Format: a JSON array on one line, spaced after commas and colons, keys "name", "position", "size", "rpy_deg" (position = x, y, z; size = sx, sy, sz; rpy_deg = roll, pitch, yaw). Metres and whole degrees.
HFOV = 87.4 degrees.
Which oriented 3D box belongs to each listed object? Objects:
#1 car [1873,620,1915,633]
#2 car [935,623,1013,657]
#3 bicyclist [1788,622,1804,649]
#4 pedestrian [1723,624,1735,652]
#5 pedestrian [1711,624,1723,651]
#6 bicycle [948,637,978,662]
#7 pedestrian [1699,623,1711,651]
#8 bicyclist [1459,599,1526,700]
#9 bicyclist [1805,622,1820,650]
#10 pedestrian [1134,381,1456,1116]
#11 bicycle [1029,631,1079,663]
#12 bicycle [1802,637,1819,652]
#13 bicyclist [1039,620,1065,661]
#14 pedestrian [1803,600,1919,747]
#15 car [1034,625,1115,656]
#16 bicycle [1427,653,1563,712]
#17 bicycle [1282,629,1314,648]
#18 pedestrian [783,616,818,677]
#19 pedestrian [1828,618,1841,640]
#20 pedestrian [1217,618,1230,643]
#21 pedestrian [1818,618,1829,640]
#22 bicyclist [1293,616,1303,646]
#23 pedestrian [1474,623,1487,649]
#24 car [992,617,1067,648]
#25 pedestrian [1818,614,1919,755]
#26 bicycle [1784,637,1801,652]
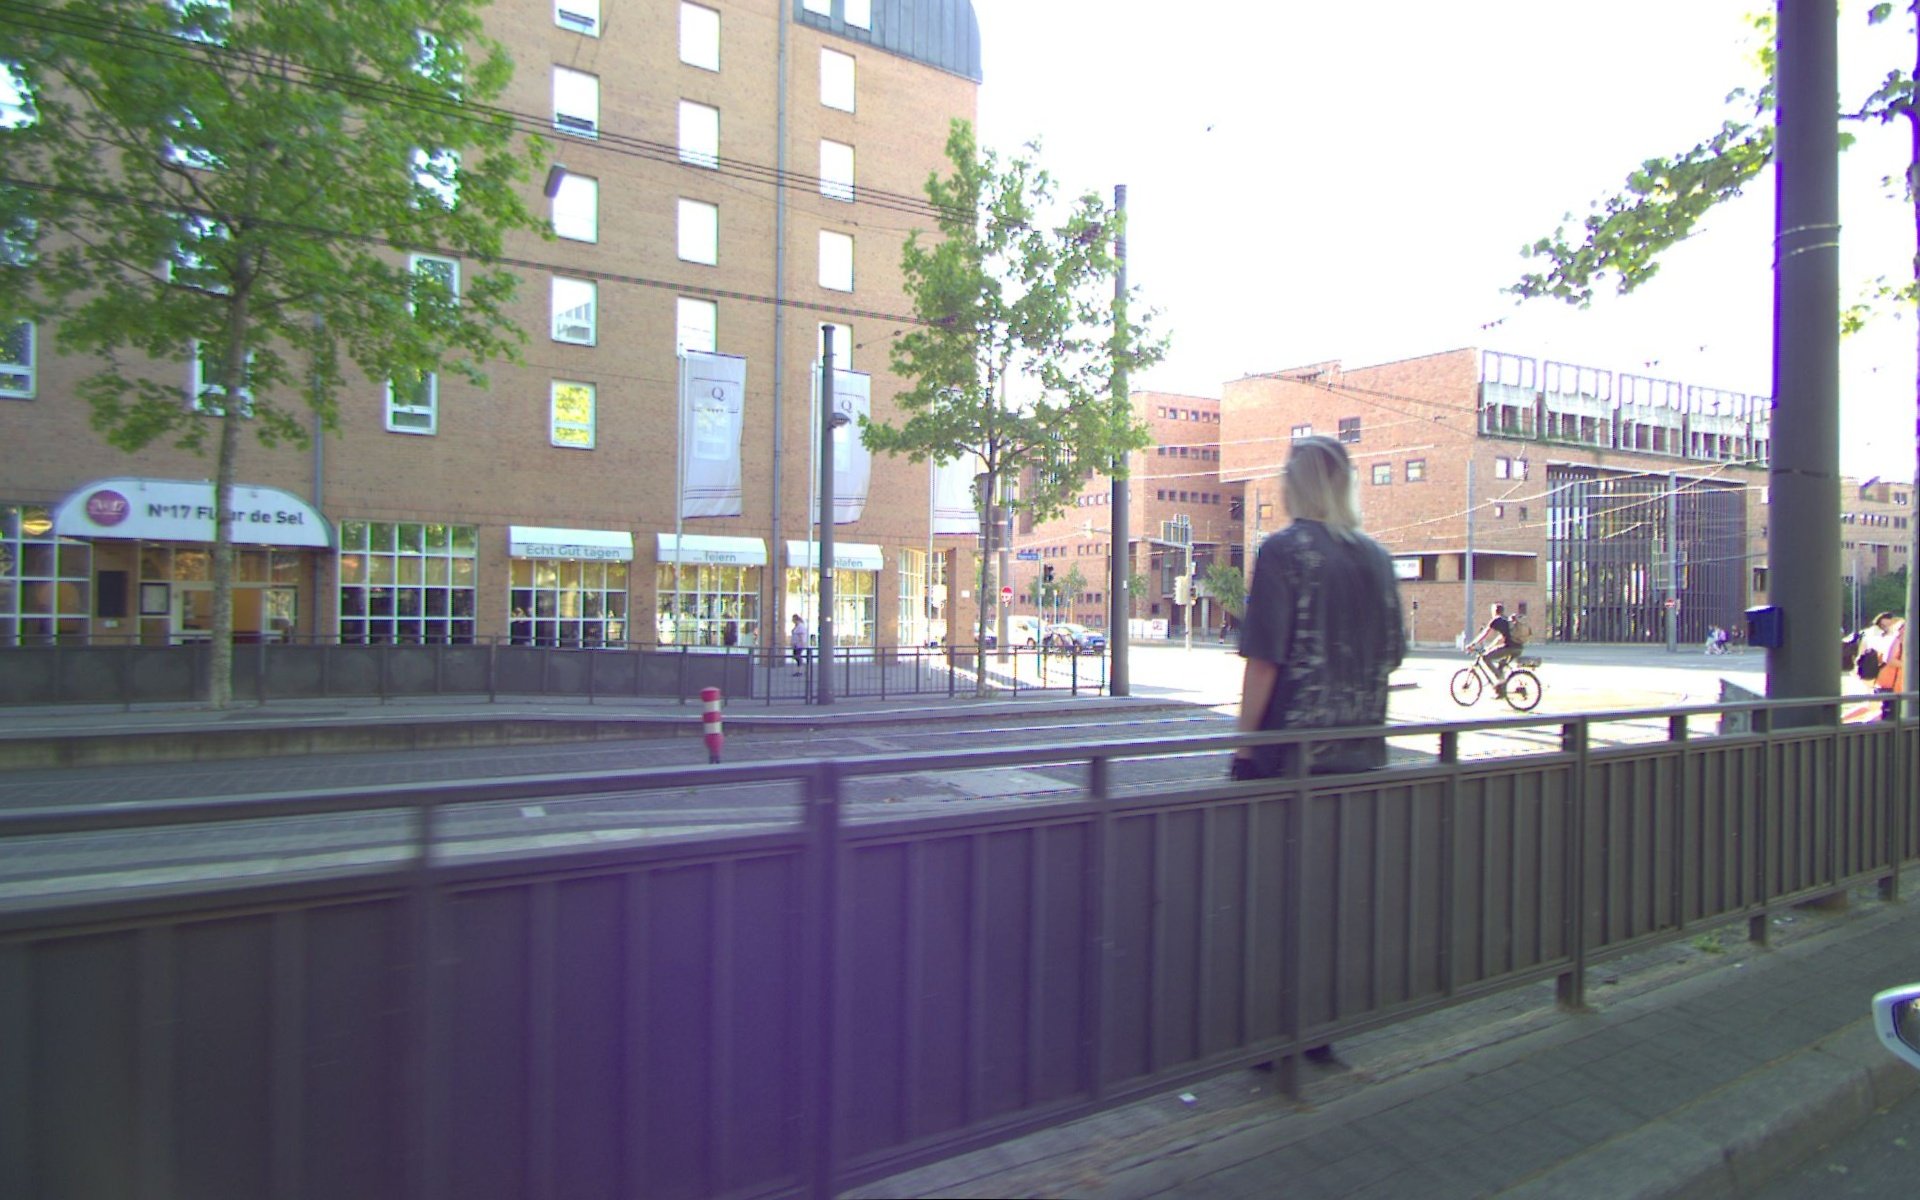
[{"name": "car", "position": [126.875, 3.640, 136.470], "size": [3.927, 1.573, 1.605], "rpy_deg": [2, 0, 28]}, {"name": "car", "position": [0.666, 2.027, 51.989], "size": [1.806, 1.604, 4.454], "rpy_deg": [1, -1, -34]}, {"name": "bicyclist", "position": [53.019, 2.241, 63.693], "size": [0.782, 1.697, 0.589], "rpy_deg": [1, -1, -38]}, {"name": "pedestrian", "position": [46.290, 2.253, 60.444], "size": [0.530, 1.672, 0.622], "rpy_deg": [-1, -1, 40]}, {"name": "pedestrian", "position": [46.738, 2.333, 62.031], "size": [0.530, 1.672, 0.622], "rpy_deg": [-1, -1, 40]}, {"name": "bicycle", "position": [0.128, 2.348, 47.814], "size": [0.621, 1.078, 1.915], "rpy_deg": [1, -1, -28]}, {"name": "pedestrian", "position": [45.023, 2.226, 60.725], "size": [0.530, 1.672, 0.622], "rpy_deg": [-1, -1, 40]}, {"name": "bicyclist", "position": [9.804, 0.902, 18.499], "size": [0.744, 1.809, 0.845], "rpy_deg": [1, -1, -33]}, {"name": "bicyclist", "position": [53.617, 2.260, 63.172], "size": [0.782, 1.697, 0.589], "rpy_deg": [1, -1, -38]}, {"name": "pedestrian", "position": [1.008, 0.398, 3.041], "size": [0.751, 1.925, 0.507], "rpy_deg": [2, 0, -30]}, {"name": "bicycle", "position": [4.053, 2.010, 43.350], "size": [1.061, 1.243, 2.145], "rpy_deg": [0, 0, -32]}, {"name": "bicycle", "position": [53.511, 2.778, 63.225], "size": [1.824, 0.893, 0.508], "rpy_deg": [1, -1, -40]}, {"name": "bicyclist", "position": [3.982, 1.743, 43.487], "size": [0.683, 1.703, 0.899], "rpy_deg": [1, -1, -33]}, {"name": "pedestrian", "position": [12.207, 0.955, 13.593], "size": [0.732, 1.896, 1.065], "rpy_deg": [1, 0, -38]}, {"name": "car", "position": [5.675, 2.005, 50.267], "size": [1.980, 1.476, 3.929], "rpy_deg": [1, -2, -34]}, {"name": "bicycle", "position": [9.802, 1.489, 18.491], "size": [0.661, 0.946, 2.164], "rpy_deg": [1, -1, -33]}, {"name": "bicycle", "position": [23.499, 2.681, 69.820], "size": [2.062, 1.255, 0.452], "rpy_deg": [-1, -2, 35]}, {"name": "pedestrian", "position": [-4.295, 1.243, 27.056], "size": [0.717, 1.606, 0.586], "rpy_deg": [1, 1, -33]}, {"name": "pedestrian", "position": [72.317, 2.424, 83.071], "size": [0.538, 1.834, 0.639], "rpy_deg": [1, -1, -24]}, {"name": "pedestrian", "position": [17.118, 1.980, 65.370], "size": [0.608, 1.635, 0.539], "rpy_deg": [-1, 2, -36]}, {"name": "pedestrian", "position": [70.934, 2.378, 82.531], "size": [0.538, 1.803, 0.521], "rpy_deg": [1, -1, -24]}, {"name": "bicyclist", "position": [23.509, 2.128, 69.814], "size": [0.553, 2.087, 0.450], "rpy_deg": [0, -1, 35]}, {"name": "pedestrian", "position": [32.876, 2.255, 63.435], "size": [0.560, 1.635, 0.545], "rpy_deg": [0, -1, 0]}, {"name": "car", "position": [3.965, 1.852, 58.077], "size": [1.982, 1.719, 4.313], "rpy_deg": [1, -2, -38]}, {"name": "pedestrian", "position": [11.743, 1.045, 12.812], "size": [0.751, 1.704, 1.064], "rpy_deg": [1, 0, -38]}, {"name": "bicycle", "position": [52.844, 2.806, 63.765], "size": [1.824, 0.893, 0.508], "rpy_deg": [1, -1, -40]}]
